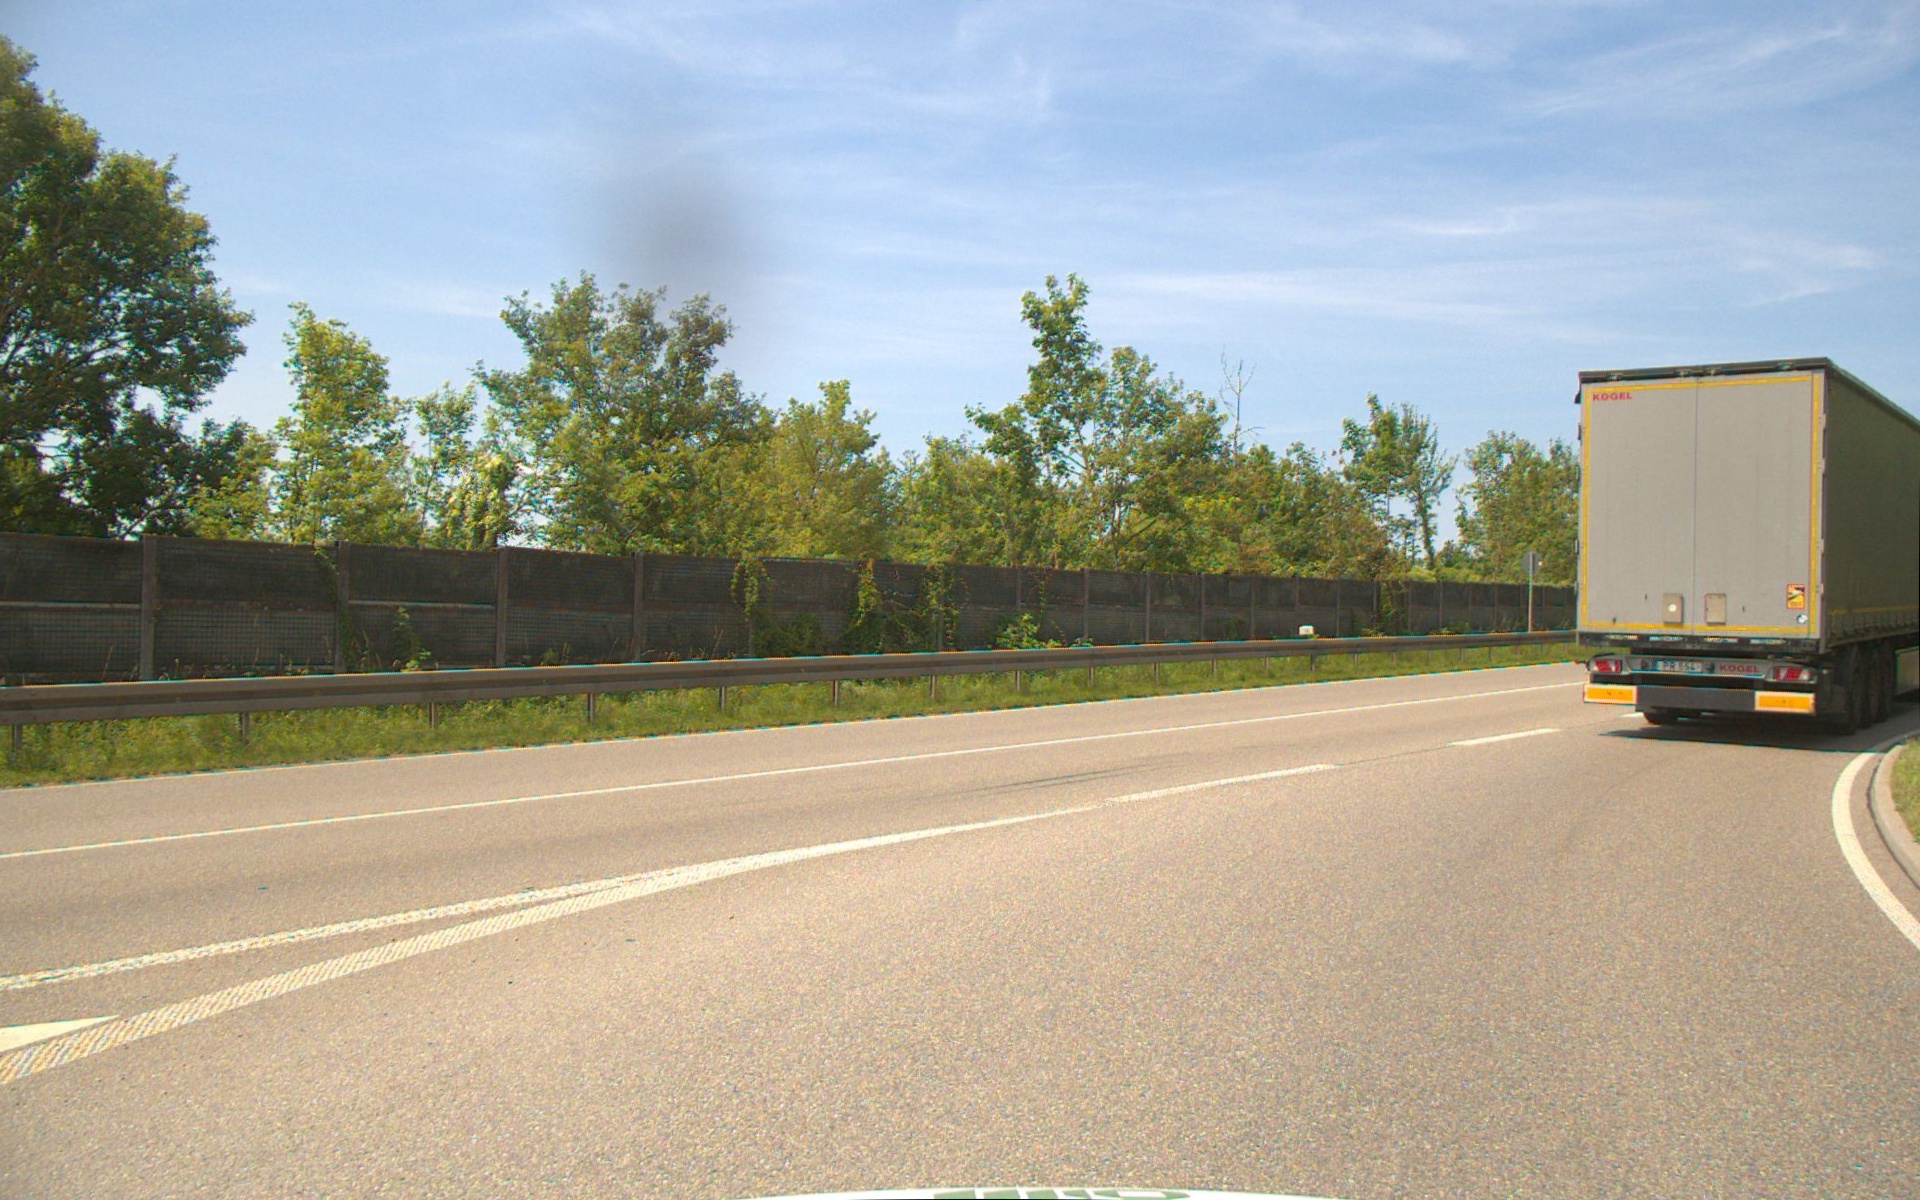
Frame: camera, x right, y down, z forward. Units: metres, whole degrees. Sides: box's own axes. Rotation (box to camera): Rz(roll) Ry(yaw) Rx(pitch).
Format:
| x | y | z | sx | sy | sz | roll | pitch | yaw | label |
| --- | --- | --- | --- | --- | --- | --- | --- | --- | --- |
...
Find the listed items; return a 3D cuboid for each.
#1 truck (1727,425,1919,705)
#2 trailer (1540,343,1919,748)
| x | y | z | sx | sy | sz | roll | pitch | yaw | label |
| --- | --- | --- | --- | --- | --- | --- | --- | --- | --- |
| 15.870 | -0.502 | 28.949 | 3.100 | 4.299 | 7.094 | 0 | -1 | 36 | truck |
| 11.610 | -0.495 | 23.050 | 2.976 | 4.105 | 13.299 | 1 | 0 | 36 | trailer |
